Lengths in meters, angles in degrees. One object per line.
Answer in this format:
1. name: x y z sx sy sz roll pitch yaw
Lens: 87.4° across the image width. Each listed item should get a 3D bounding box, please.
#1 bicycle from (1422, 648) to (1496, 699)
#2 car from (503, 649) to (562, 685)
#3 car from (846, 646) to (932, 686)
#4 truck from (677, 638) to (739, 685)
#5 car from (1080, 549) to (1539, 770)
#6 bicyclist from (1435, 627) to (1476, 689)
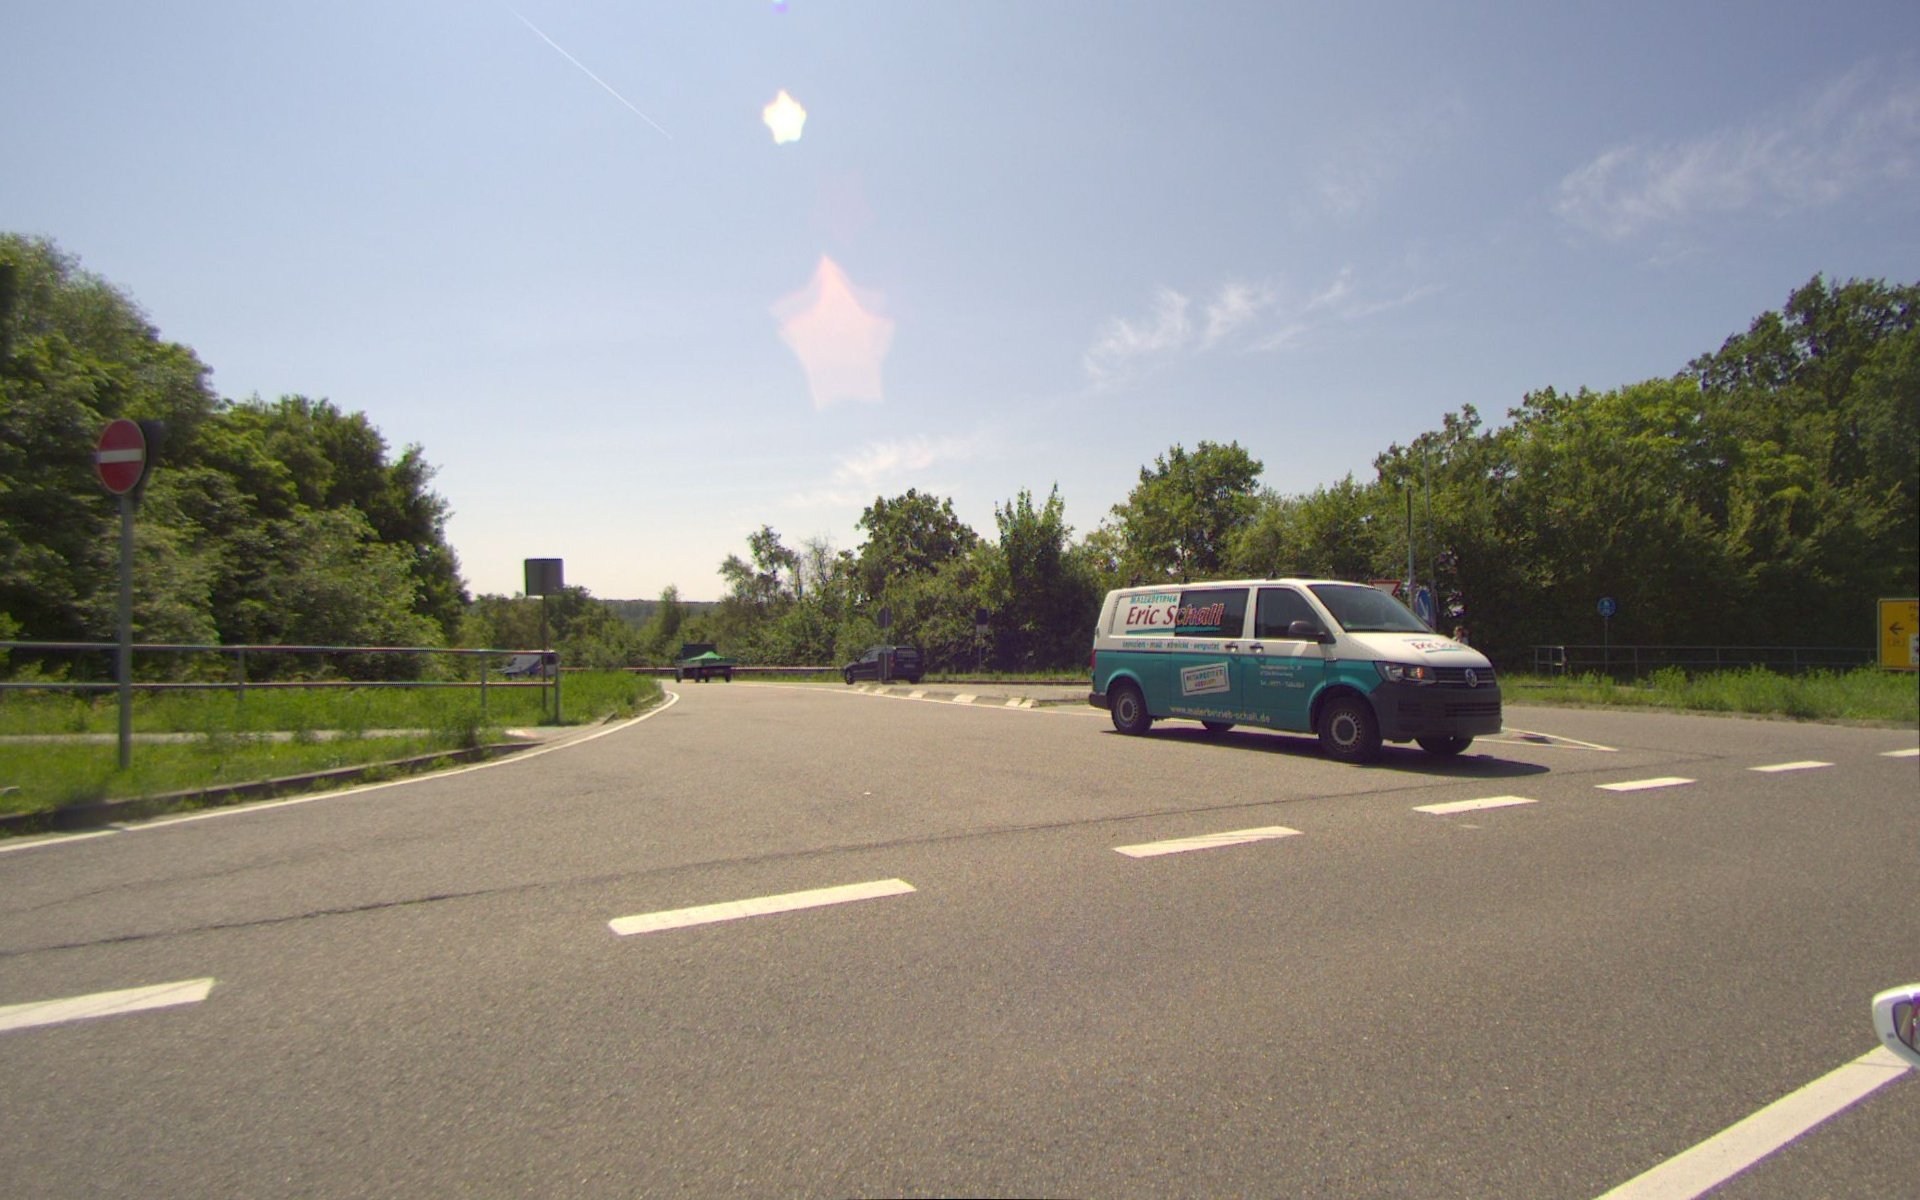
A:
1. bicycle: 11.379 1.666 22.944 1.452 1.128 0.437 0 -1 5
2. car: -37.492 5.881 88.005 5.919 2.886 2.104 -5 -4 37
3. car: -2.835 2.548 39.374 1.709 1.476 3.760 1 -2 -35
4. truck: -14.816 3.673 58.879 2.118 2.598 6.596 2 -5 -27
5. car: 3.819 0.670 12.092 1.978 2.054 5.144 1 -3 -31
6. bicyclist: 11.308 1.311 22.934 0.597 1.381 0.690 1 -1 5
